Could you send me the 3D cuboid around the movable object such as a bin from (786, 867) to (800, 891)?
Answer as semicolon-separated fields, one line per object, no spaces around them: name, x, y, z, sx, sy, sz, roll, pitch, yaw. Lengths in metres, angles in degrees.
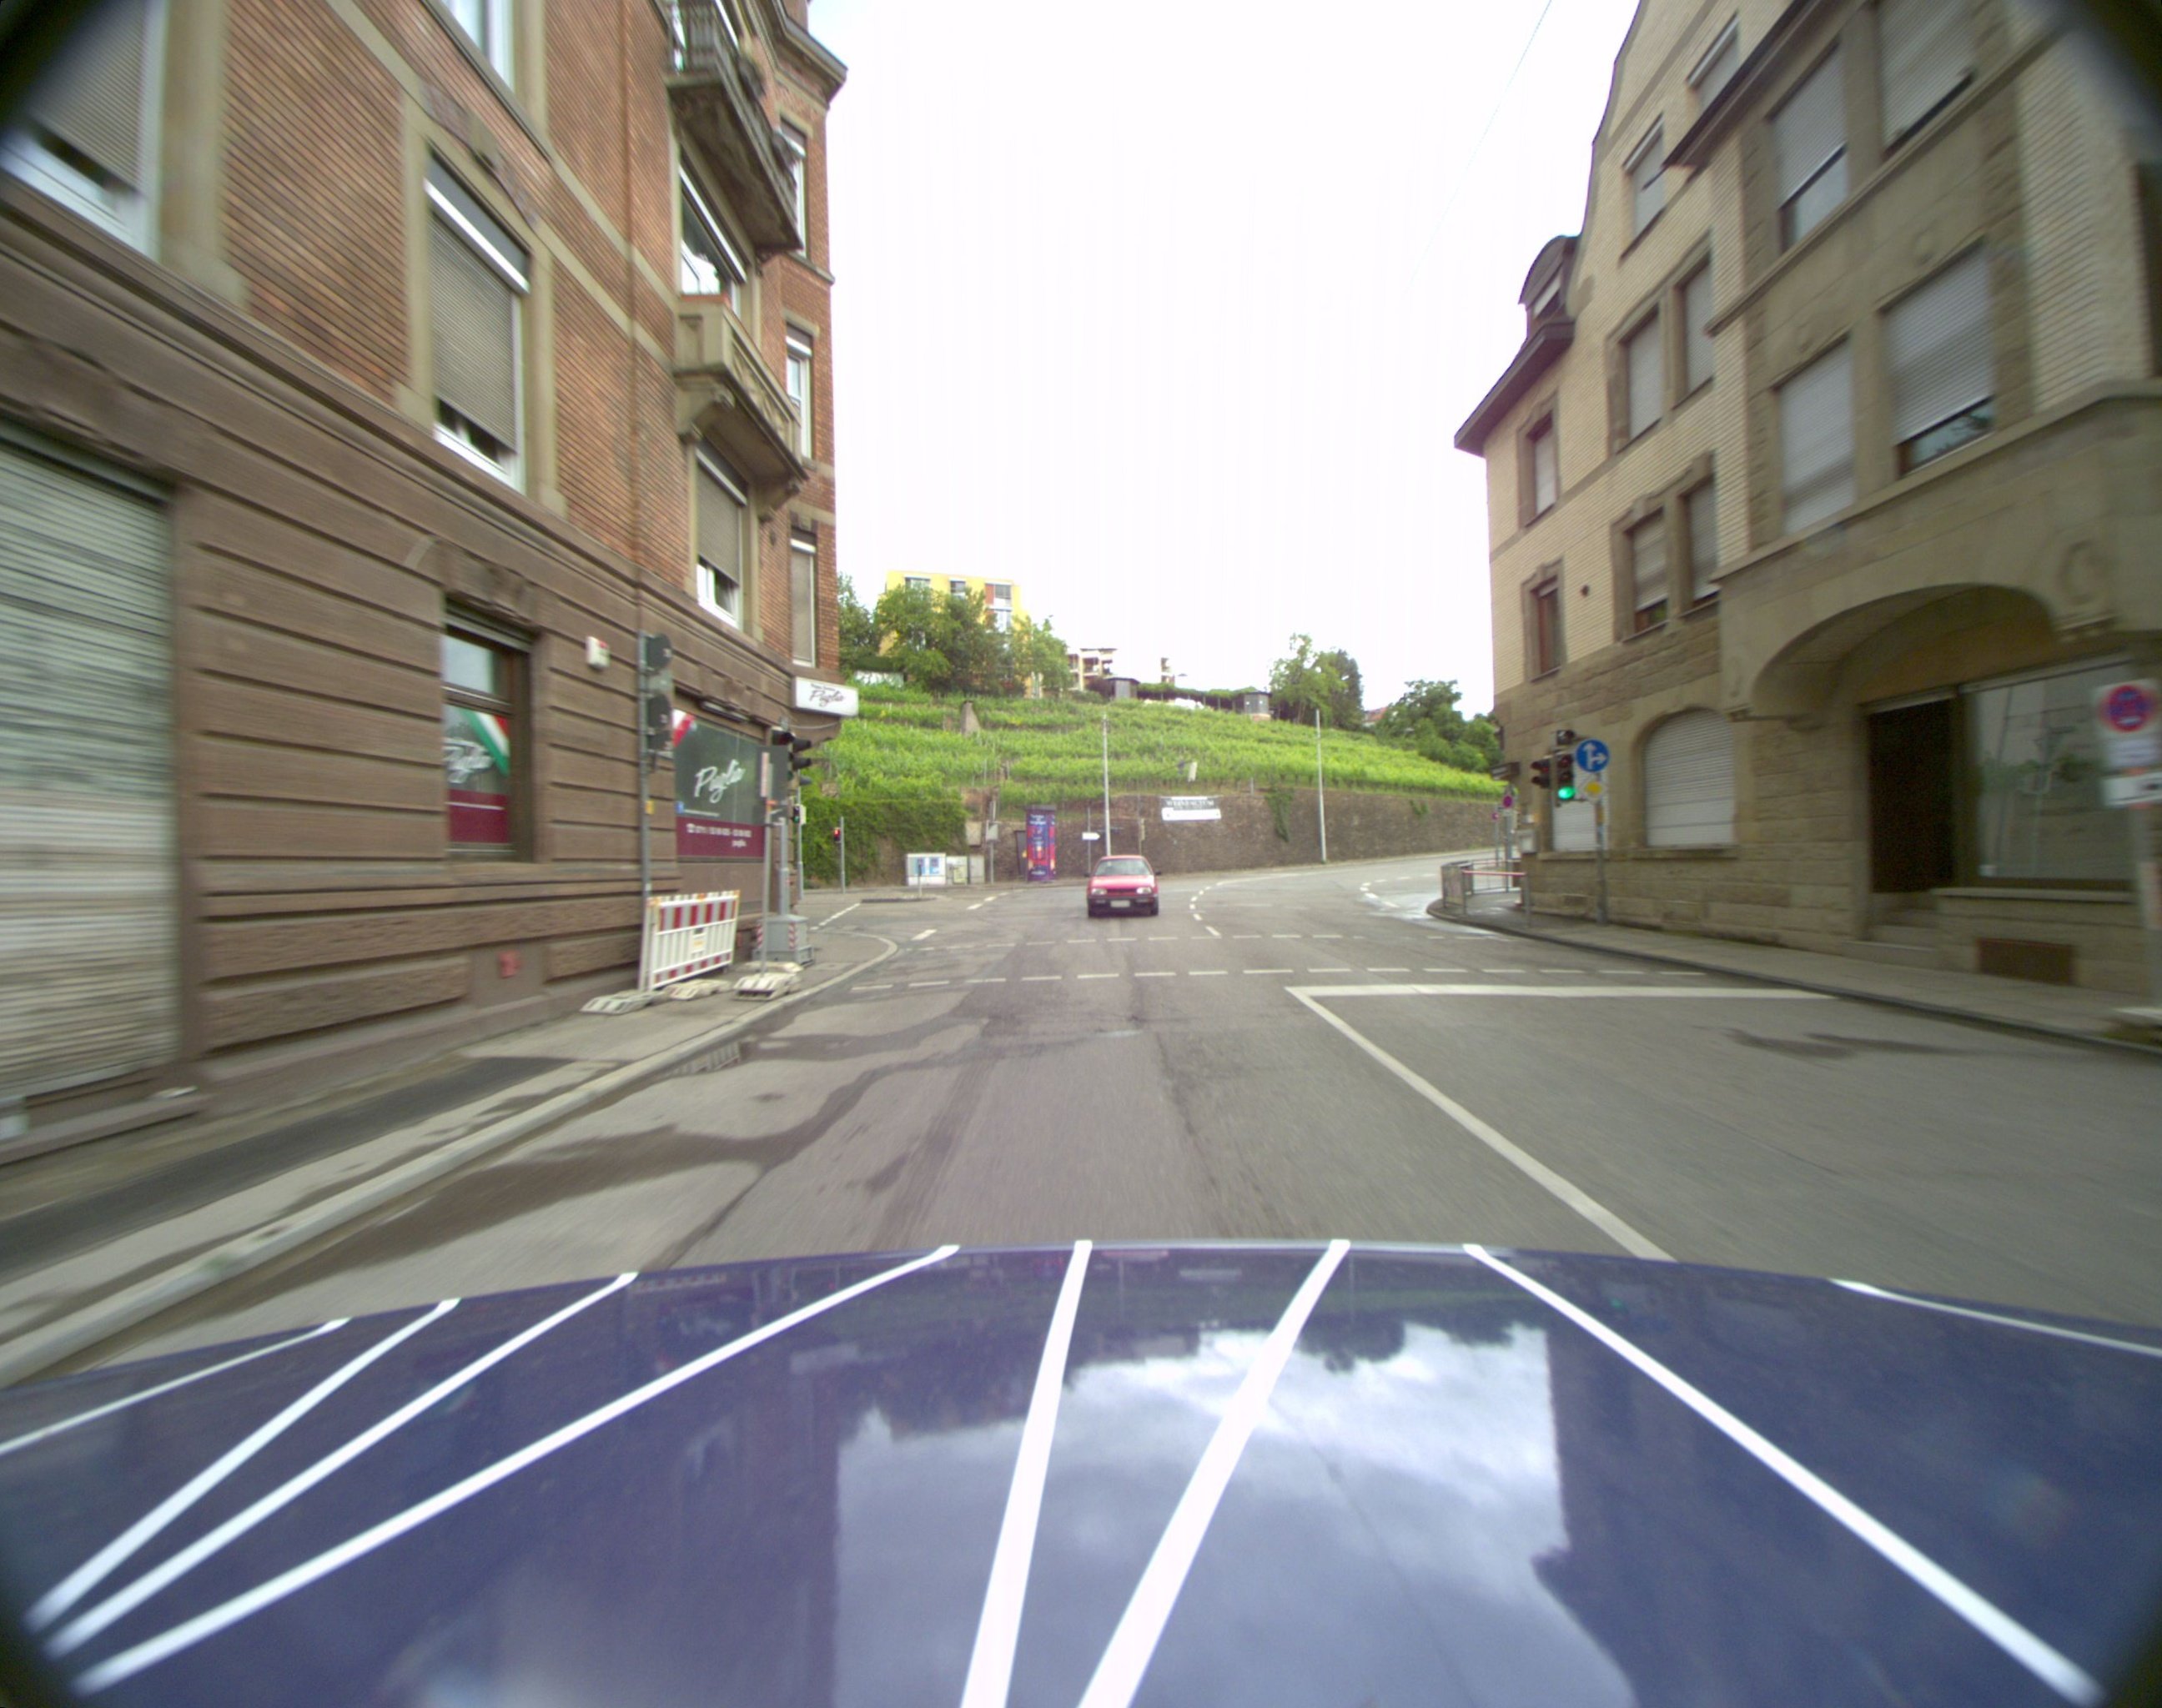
movable object such as a bin;-13.417;1.178;35.396;0.473;1.076;0.407;-3;1;-34

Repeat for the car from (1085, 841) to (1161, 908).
car;1.024;0.465;19.004;1.646;1.430;4.000;-3;0;2

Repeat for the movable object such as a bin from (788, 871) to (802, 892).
movable object such as a bin;-13.160;1.255;34.998;0.496;0.906;0.344;-4;1;-33
